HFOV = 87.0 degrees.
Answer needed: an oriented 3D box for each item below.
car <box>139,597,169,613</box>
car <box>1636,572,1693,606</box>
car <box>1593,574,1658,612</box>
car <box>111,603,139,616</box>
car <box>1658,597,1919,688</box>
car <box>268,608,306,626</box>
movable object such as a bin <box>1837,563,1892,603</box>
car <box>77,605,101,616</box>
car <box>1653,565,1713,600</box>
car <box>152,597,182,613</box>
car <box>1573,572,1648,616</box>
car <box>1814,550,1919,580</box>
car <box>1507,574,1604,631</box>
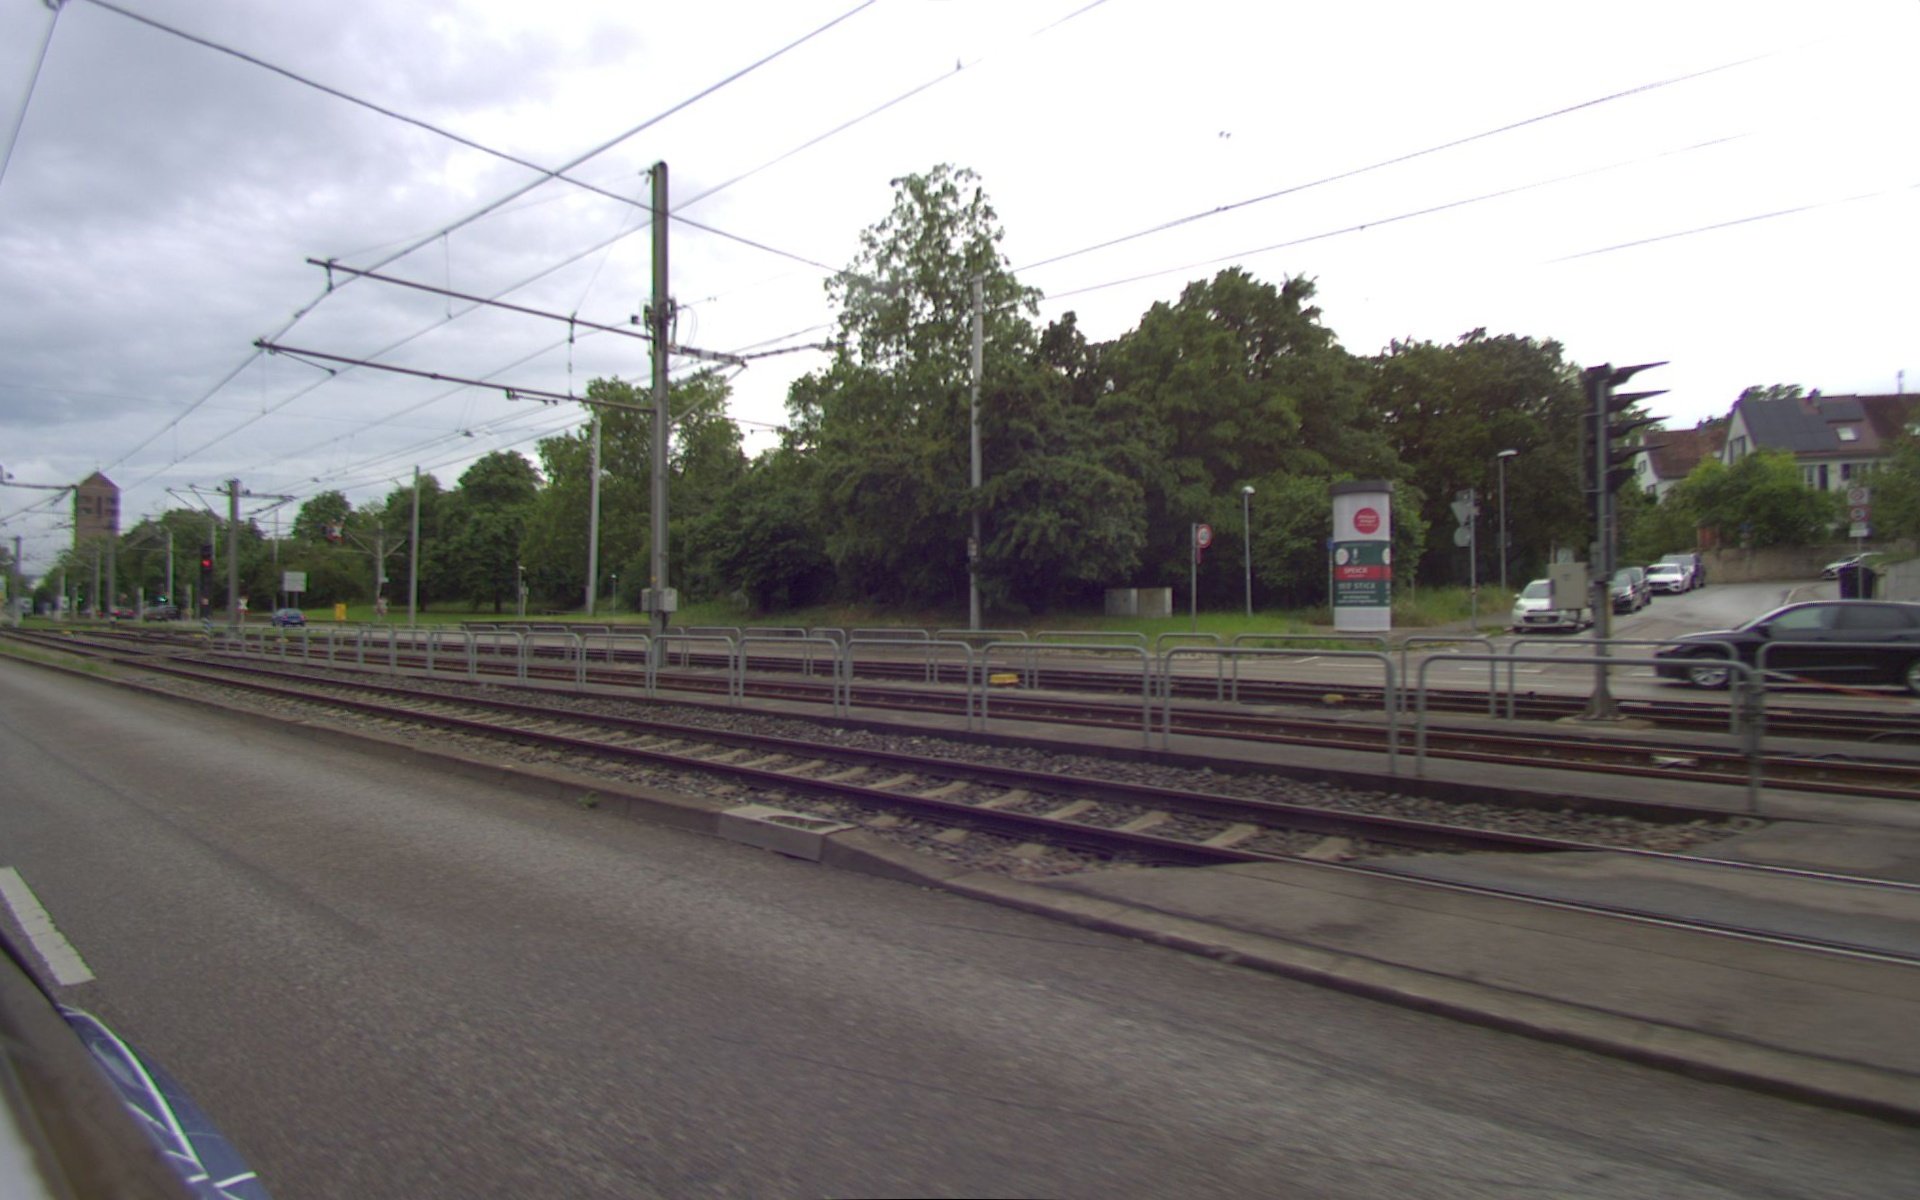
[{"bbox_3d":[-81.818,0.530,102.754,4.310,1.497,1.870,-1,-1,44],"label":"car"},{"bbox_3d":[34.147,-0.536,48.996,1.944,1.485,4.215,-1,2,39],"label":"car"},{"bbox_3d":[27.529,-0.313,41.812,1.871,1.421,4.035,-1,2,39],"label":"car"},{"bbox_3d":[-104.873,1.242,127.113,5.159,1.601,2.066,-1,-1,43],"label":"car"},{"bbox_3d":[13.018,0.607,15.211,3.986,1.253,1.738,-1,-1,42],"label":"car"},{"bbox_3d":[-53.957,1.323,81.125,3.901,1.408,1.741,-1,-1,44],"label":"car"},{"bbox_3d":[32.487,-0.615,36.379,1.269,1.406,1.257,-1,2,34],"label":"movable object such as a bin"},{"bbox_3d":[-121.802,1.482,141.529,4.681,1.458,1.906,-1,-1,42],"label":"car"},{"bbox_3d":[38.013,-0.926,53.150,1.946,1.673,4.095,-1,2,44],"label":"car"},{"bbox_3d":[-86.544,0.560,110.407,4.848,1.607,1.926,-1,-1,44],"label":"car"},{"bbox_3d":[24.030,-0.236,37.323,1.871,1.464,4.035,-1,2,39],"label":"car"},{"bbox_3d":[50.343,-1.948,56.168,3.982,1.501,1.940,-2,1,10],"label":"car"},{"bbox_3d":[17.655,0.045,29.933,1.924,1.464,3.881,-1,2,39],"label":"car"}]
